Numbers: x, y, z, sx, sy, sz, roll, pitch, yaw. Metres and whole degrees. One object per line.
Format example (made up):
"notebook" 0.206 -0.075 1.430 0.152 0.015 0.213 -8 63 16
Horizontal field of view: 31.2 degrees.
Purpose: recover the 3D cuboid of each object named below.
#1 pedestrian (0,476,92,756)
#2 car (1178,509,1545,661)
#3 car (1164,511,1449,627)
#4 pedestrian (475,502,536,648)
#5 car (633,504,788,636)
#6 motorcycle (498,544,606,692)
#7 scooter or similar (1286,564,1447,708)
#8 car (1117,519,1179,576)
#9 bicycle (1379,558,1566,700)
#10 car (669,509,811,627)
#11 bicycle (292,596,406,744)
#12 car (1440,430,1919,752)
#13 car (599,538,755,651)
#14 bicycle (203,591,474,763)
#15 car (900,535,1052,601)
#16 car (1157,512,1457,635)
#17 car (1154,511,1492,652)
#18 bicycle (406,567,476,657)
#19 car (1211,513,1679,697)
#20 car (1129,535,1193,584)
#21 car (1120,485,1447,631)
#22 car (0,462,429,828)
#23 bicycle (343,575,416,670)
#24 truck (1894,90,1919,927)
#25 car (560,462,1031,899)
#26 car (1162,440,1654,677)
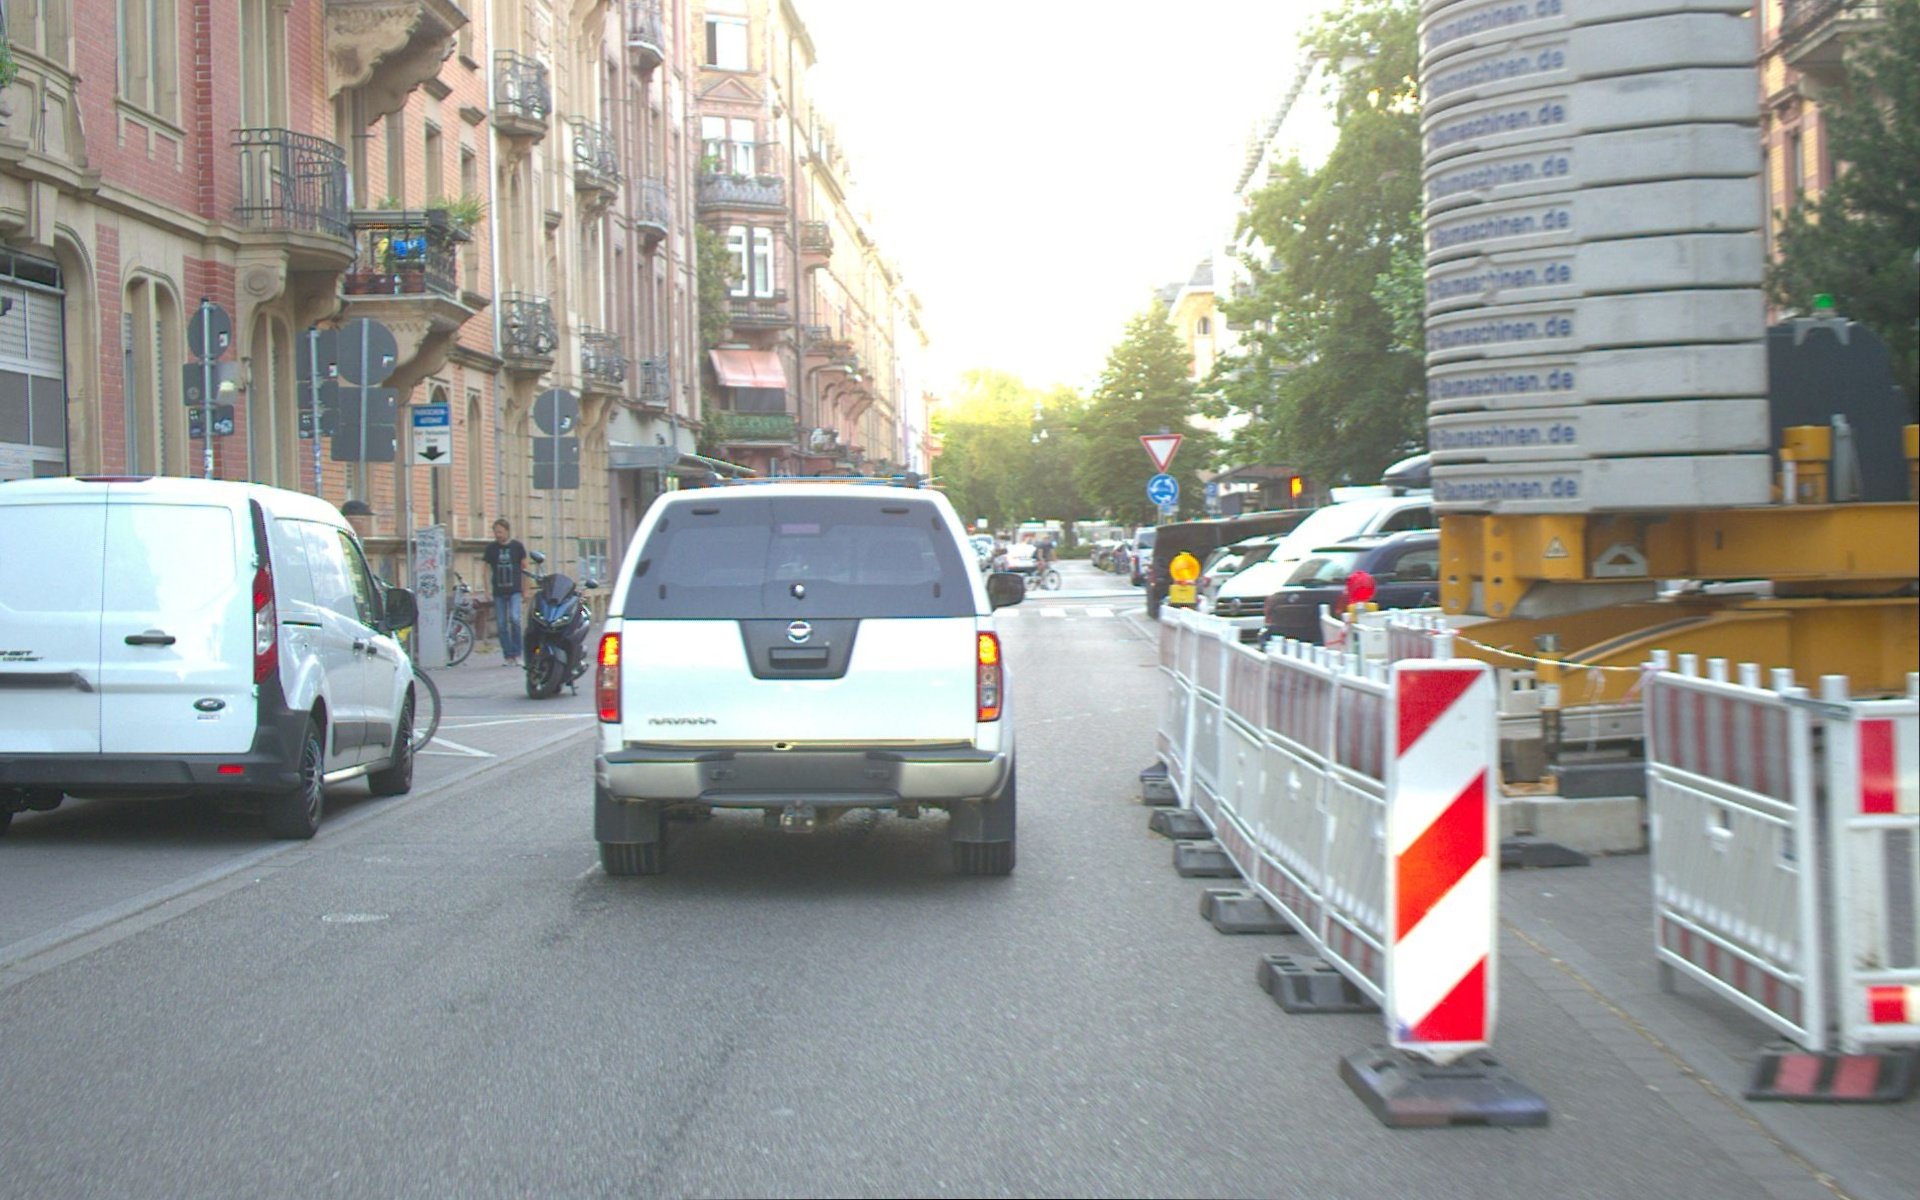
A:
"pedestrian" -6.189 0.098 22.656 0.598 1.808 0.720 0 0 20
"car" 5.013 -0.206 42.856 4.153 1.585 1.886 -4 2 -29
"car" 5.456 -0.495 54.039 4.096 1.546 1.819 -5 2 -30
"pedestrian" -5.678 -0.314 42.978 0.682 1.804 0.961 0 0 -4
"car" -3.799 -0.478 53.115 1.837 1.915 4.845 -1 1 2
"motorcycle" -3.986 0.165 33.732 0.685 1.400 2.014 0 0 4
"scooter or similar" 3.405 0.288 28.929 0.654 1.146 1.485 -3 2 -22
"car" 6.485 -1.812 119.114 1.942 1.927 4.000 0 0 1
"bicycle" 4.302 0.229 28.997 0.495 1.132 1.814 -4 2 -30
"car" -3.741 -0.568 59.274 2.109 1.915 5.026 -1 1 0
"bicycle" -4.562 0.505 25.751 0.466 1.064 1.520 0 0 5
"car" 6.048 -0.152 23.554 5.173 1.949 1.899 -3 2 1
"car" -3.846 -0.108 47.339 1.837 1.466 4.173 -1 1 -1
"bicycle" -4.283 0.520 23.708 1.776 1.151 0.521 0 0 -20
"car" 0.446 -0.864 91.747 3.762 1.722 1.769 0 0 13
"car" 5.194 -0.406 51.368 4.096 1.546 1.819 -5 2 -30
"car" 4.842 -0.262 45.782 4.096 1.585 1.819 -4 2 -29
"bicycle" -6.479 0.144 43.003 0.749 1.097 2.026 0 0 -5
"car" 4.478 0.017 31.775 3.854 1.511 1.848 -2 1 -24
"car" 6.426 -1.293 110.336 1.834 1.536 4.000 0 0 1
"car" 5.444 -0.717 57.376 5.421 2.065 1.933 -5 2 -37
"car" -4.162 0.203 19.047 1.770 1.783 4.587 0 0 0
"bicycle" -6.442 0.241 38.233 0.448 1.026 1.740 0 0 2
"truck" 6.678 -0.314 11.502 6.481 3.066 2.524 0 0 5
"car" -0.812 0.318 16.723 1.938 1.804 5.001 0 0 -3
"car" 4.874 -0.480 37.314 4.922 2.354 2.000 -2 1 -24
